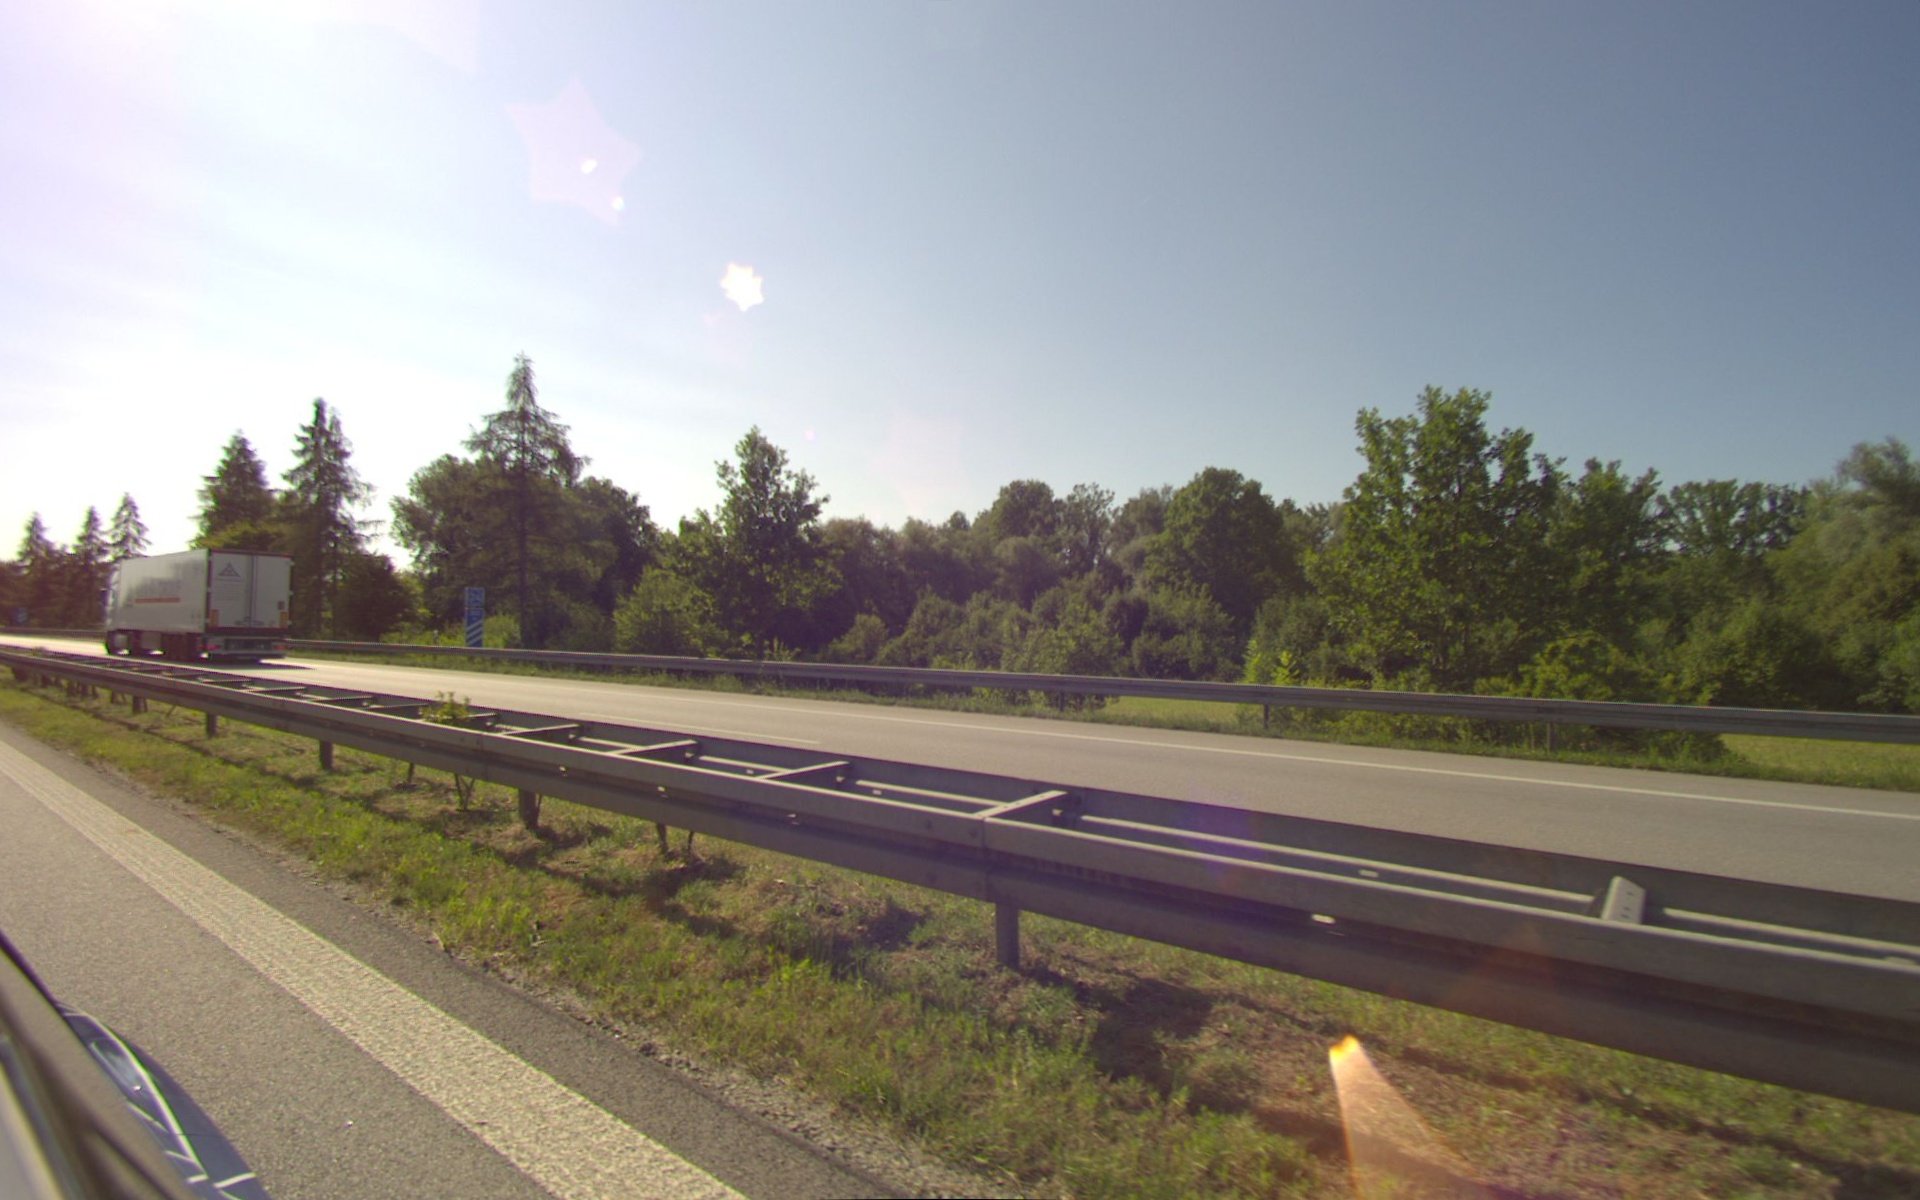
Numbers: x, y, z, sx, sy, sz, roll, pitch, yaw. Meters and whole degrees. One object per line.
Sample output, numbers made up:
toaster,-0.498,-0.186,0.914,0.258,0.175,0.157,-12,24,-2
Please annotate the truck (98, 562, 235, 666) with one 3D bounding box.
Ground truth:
truck,-34.558,0.663,43.957,7.730,4.133,3.124,-1,-3,41

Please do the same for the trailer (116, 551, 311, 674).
trailer,-29.576,0.583,39.689,13.433,4.156,3.118,-1,-3,41
